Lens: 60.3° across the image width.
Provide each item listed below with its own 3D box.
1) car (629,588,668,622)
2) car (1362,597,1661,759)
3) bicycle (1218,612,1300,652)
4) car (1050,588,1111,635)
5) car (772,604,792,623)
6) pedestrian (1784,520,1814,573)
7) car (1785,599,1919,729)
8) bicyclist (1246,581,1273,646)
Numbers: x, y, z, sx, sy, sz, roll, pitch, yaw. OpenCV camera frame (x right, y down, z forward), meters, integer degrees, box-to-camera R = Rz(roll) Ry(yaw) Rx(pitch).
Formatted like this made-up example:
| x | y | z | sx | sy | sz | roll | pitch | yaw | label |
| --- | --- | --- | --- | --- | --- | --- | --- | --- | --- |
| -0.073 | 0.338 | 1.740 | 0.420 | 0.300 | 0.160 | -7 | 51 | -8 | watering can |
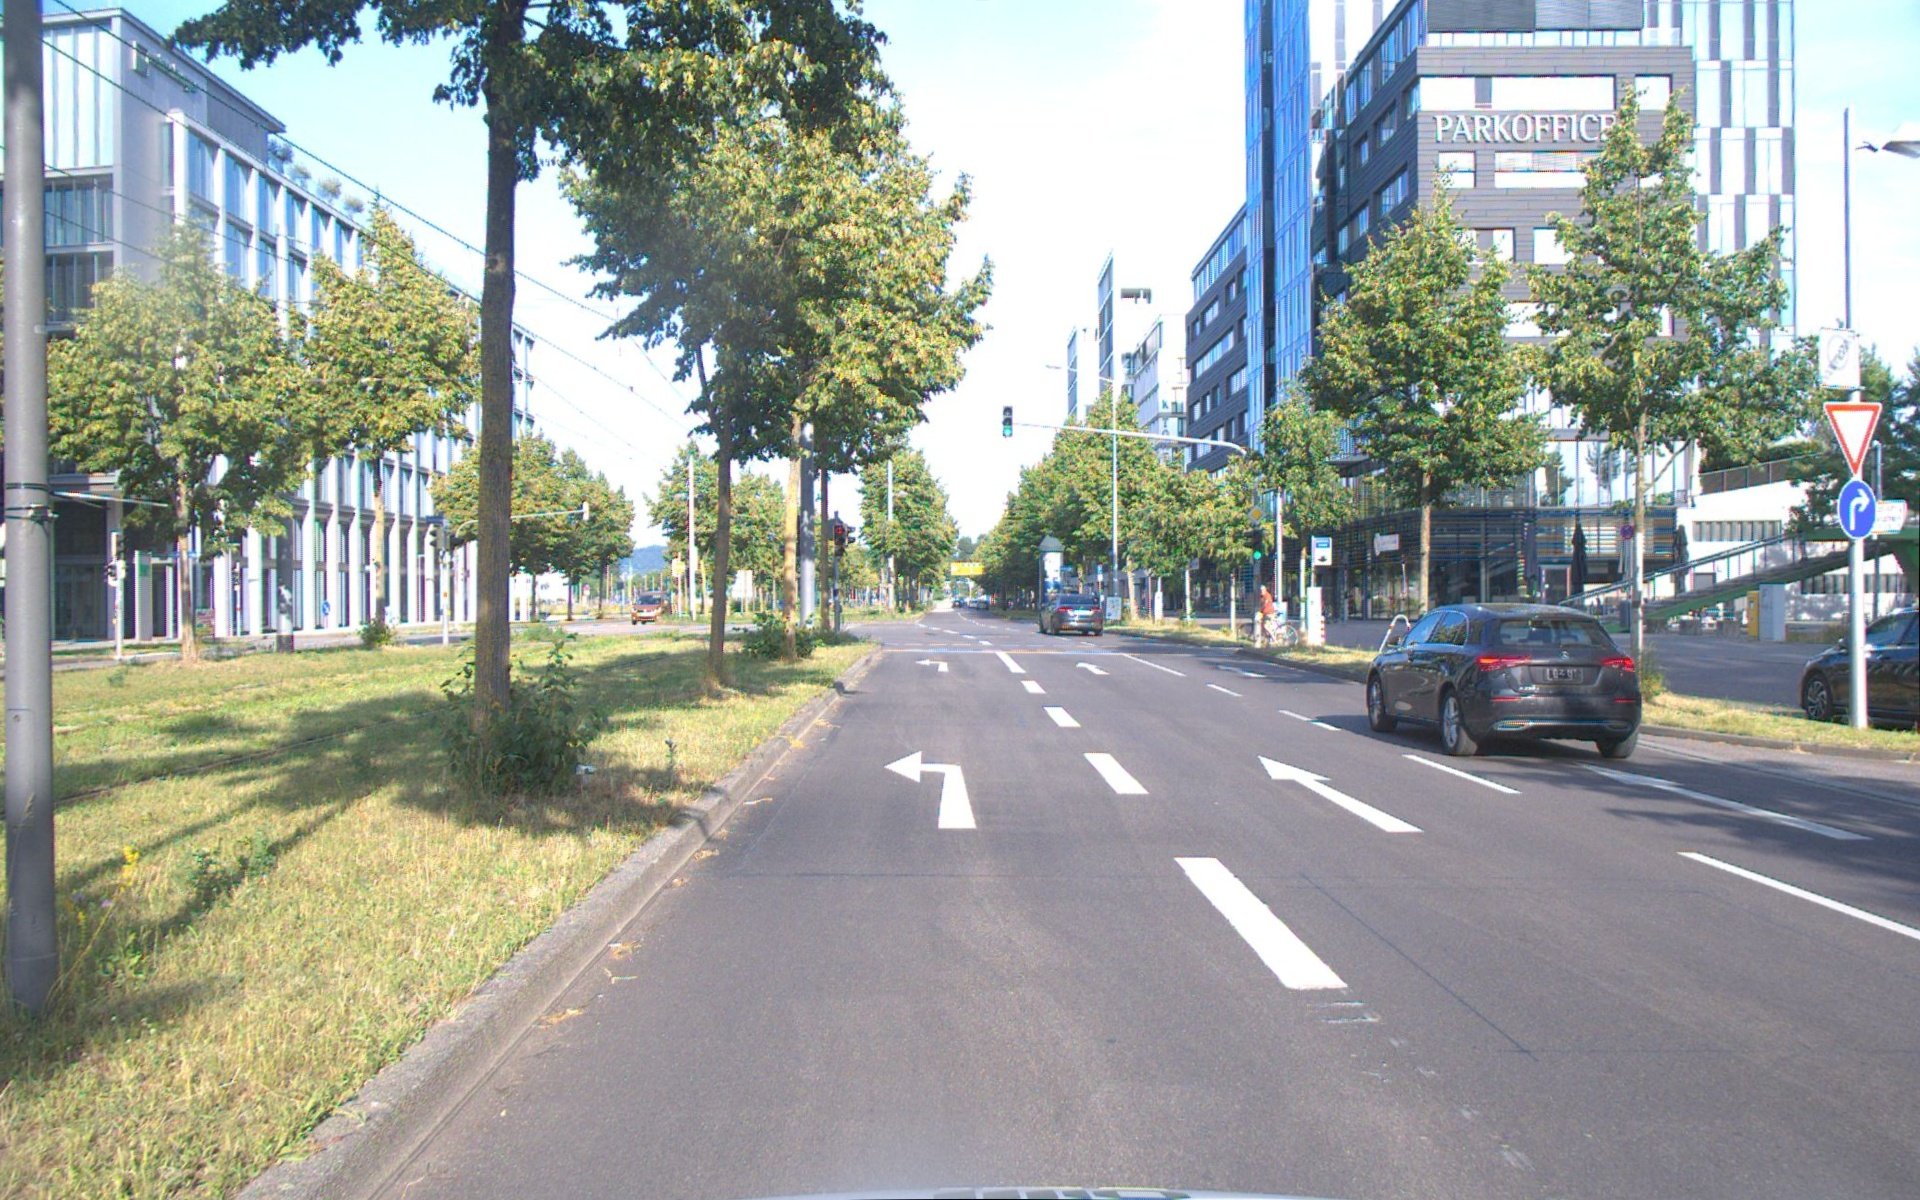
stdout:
| x | y | z | sx | sy | sz | roll | pitch | yaw | label |
| --- | --- | --- | --- | --- | --- | --- | --- | --- | --- |
| -17.379 | 0.292 | 92.376 | 1.651 | 1.806 | 3.879 | 1 | 0 | -4 | car |
| 5.523 | 0.724 | 17.088 | 1.738 | 1.449 | 3.960 | 1 | 0 | 0 | car |
| 8.122 | 0.863 | 44.930 | 2.092 | 1.030 | 0.571 | 1 | -1 | -5 | bicycle |
| 4.204 | 0.411 | 58.055 | 1.822 | 1.551 | 3.785 | 1 | 0 | 0 | car |
| -19.092 | 1.428 | 177.526 | 1.742 | 2.049 | 3.999 | 1 | 0 | -1 | car |
| 27.835 | -1.761 | 54.901 | 0.678 | 1.721 | 0.788 | 1 | -1 | 12 | pedestrian |
| 11.086 | 0.706 | 18.579 | 1.574 | 1.394 | 4.157 | 1 | 0 | 0 | car |
| 8.135 | 0.373 | 44.938 | 0.563 | 1.737 | 0.540 | 1 | -1 | -4 | bicyclist |
